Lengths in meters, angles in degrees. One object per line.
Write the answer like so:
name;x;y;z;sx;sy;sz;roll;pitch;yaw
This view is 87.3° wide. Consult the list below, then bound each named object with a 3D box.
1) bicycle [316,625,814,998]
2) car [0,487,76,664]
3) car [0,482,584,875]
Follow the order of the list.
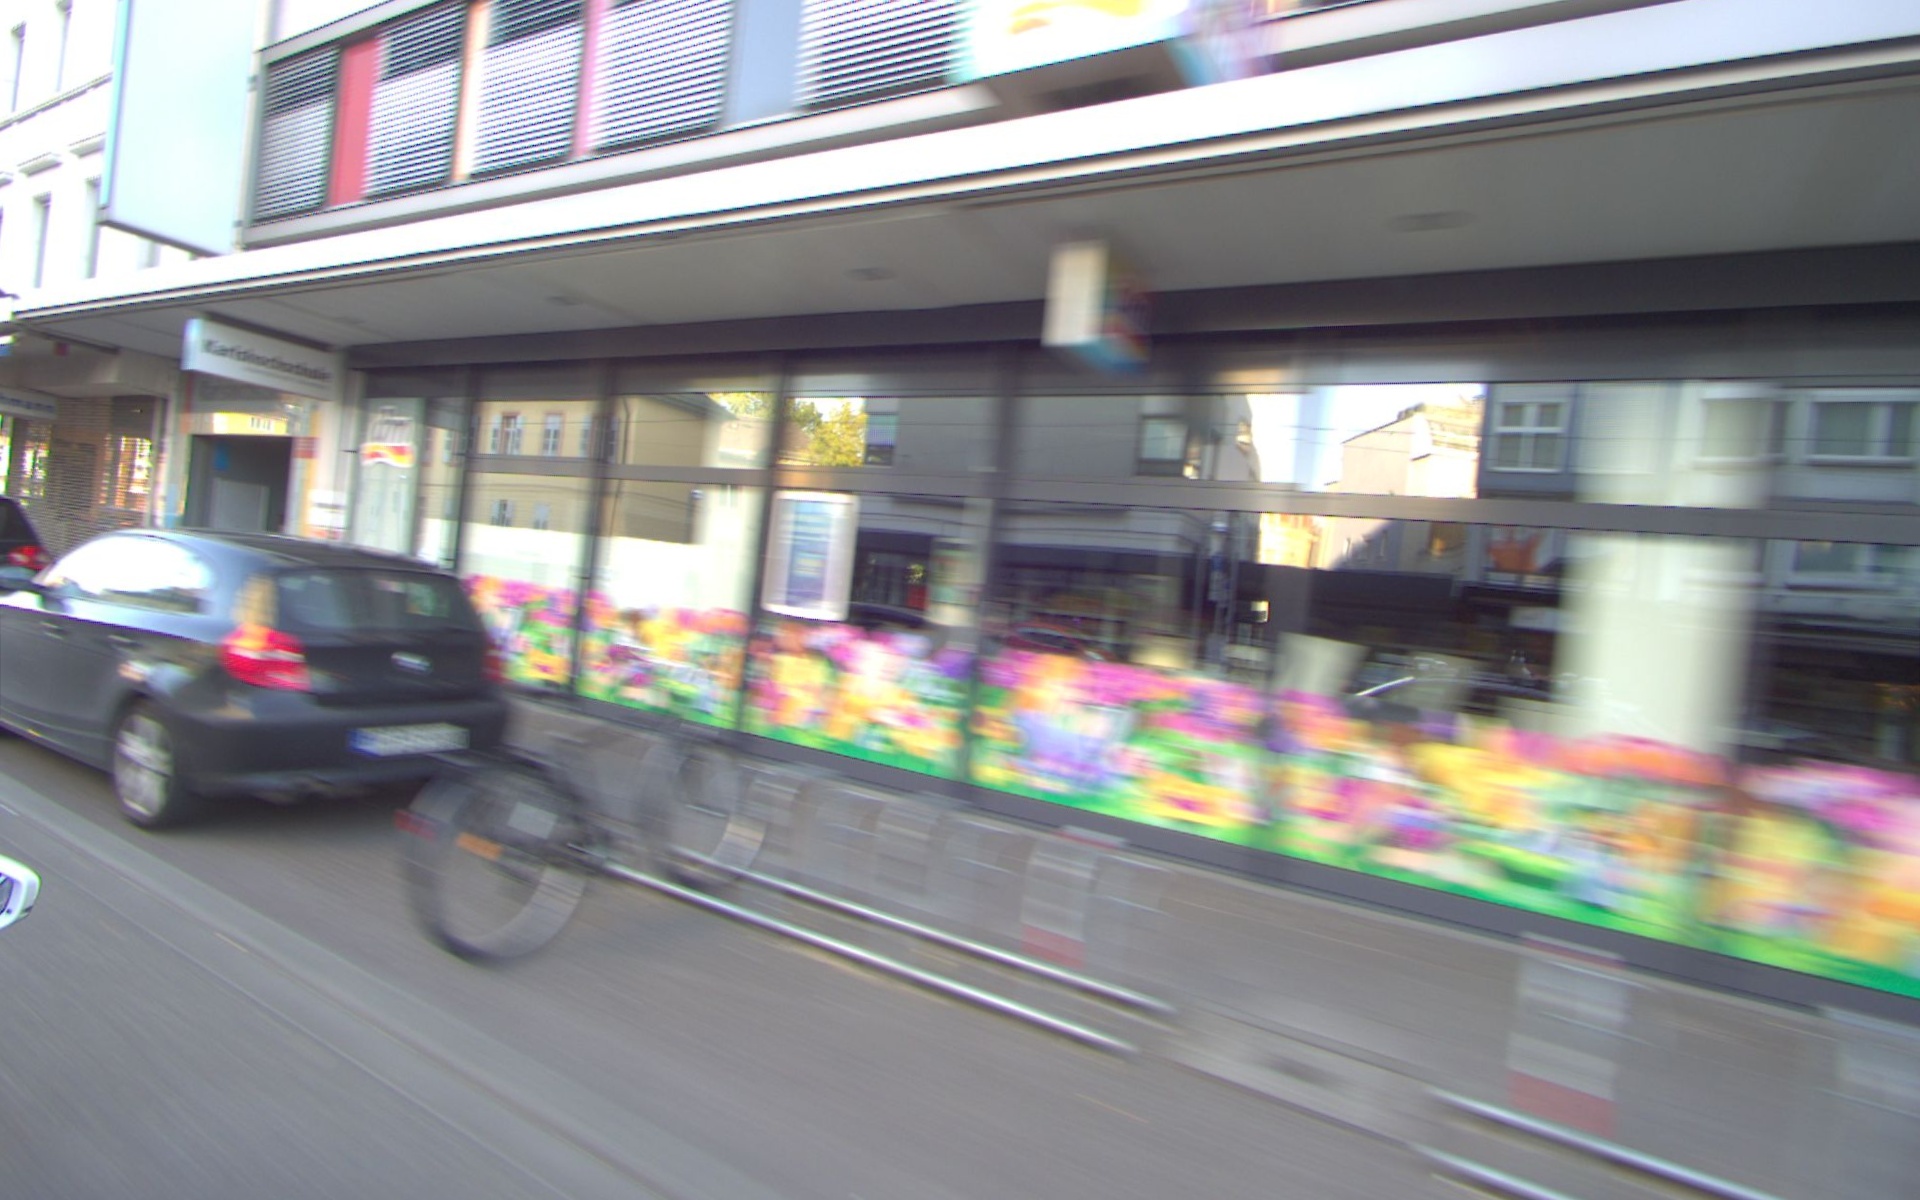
bicycle;-1.514;0.754;4.270;0.665;1.152;1.889;7;0;28
car;-10.208;-0.424;9.432;4.098;1.531;1.721;7;1;32
car;-4.390;0.215;5.999;4.187;1.531;1.745;7;1;32
